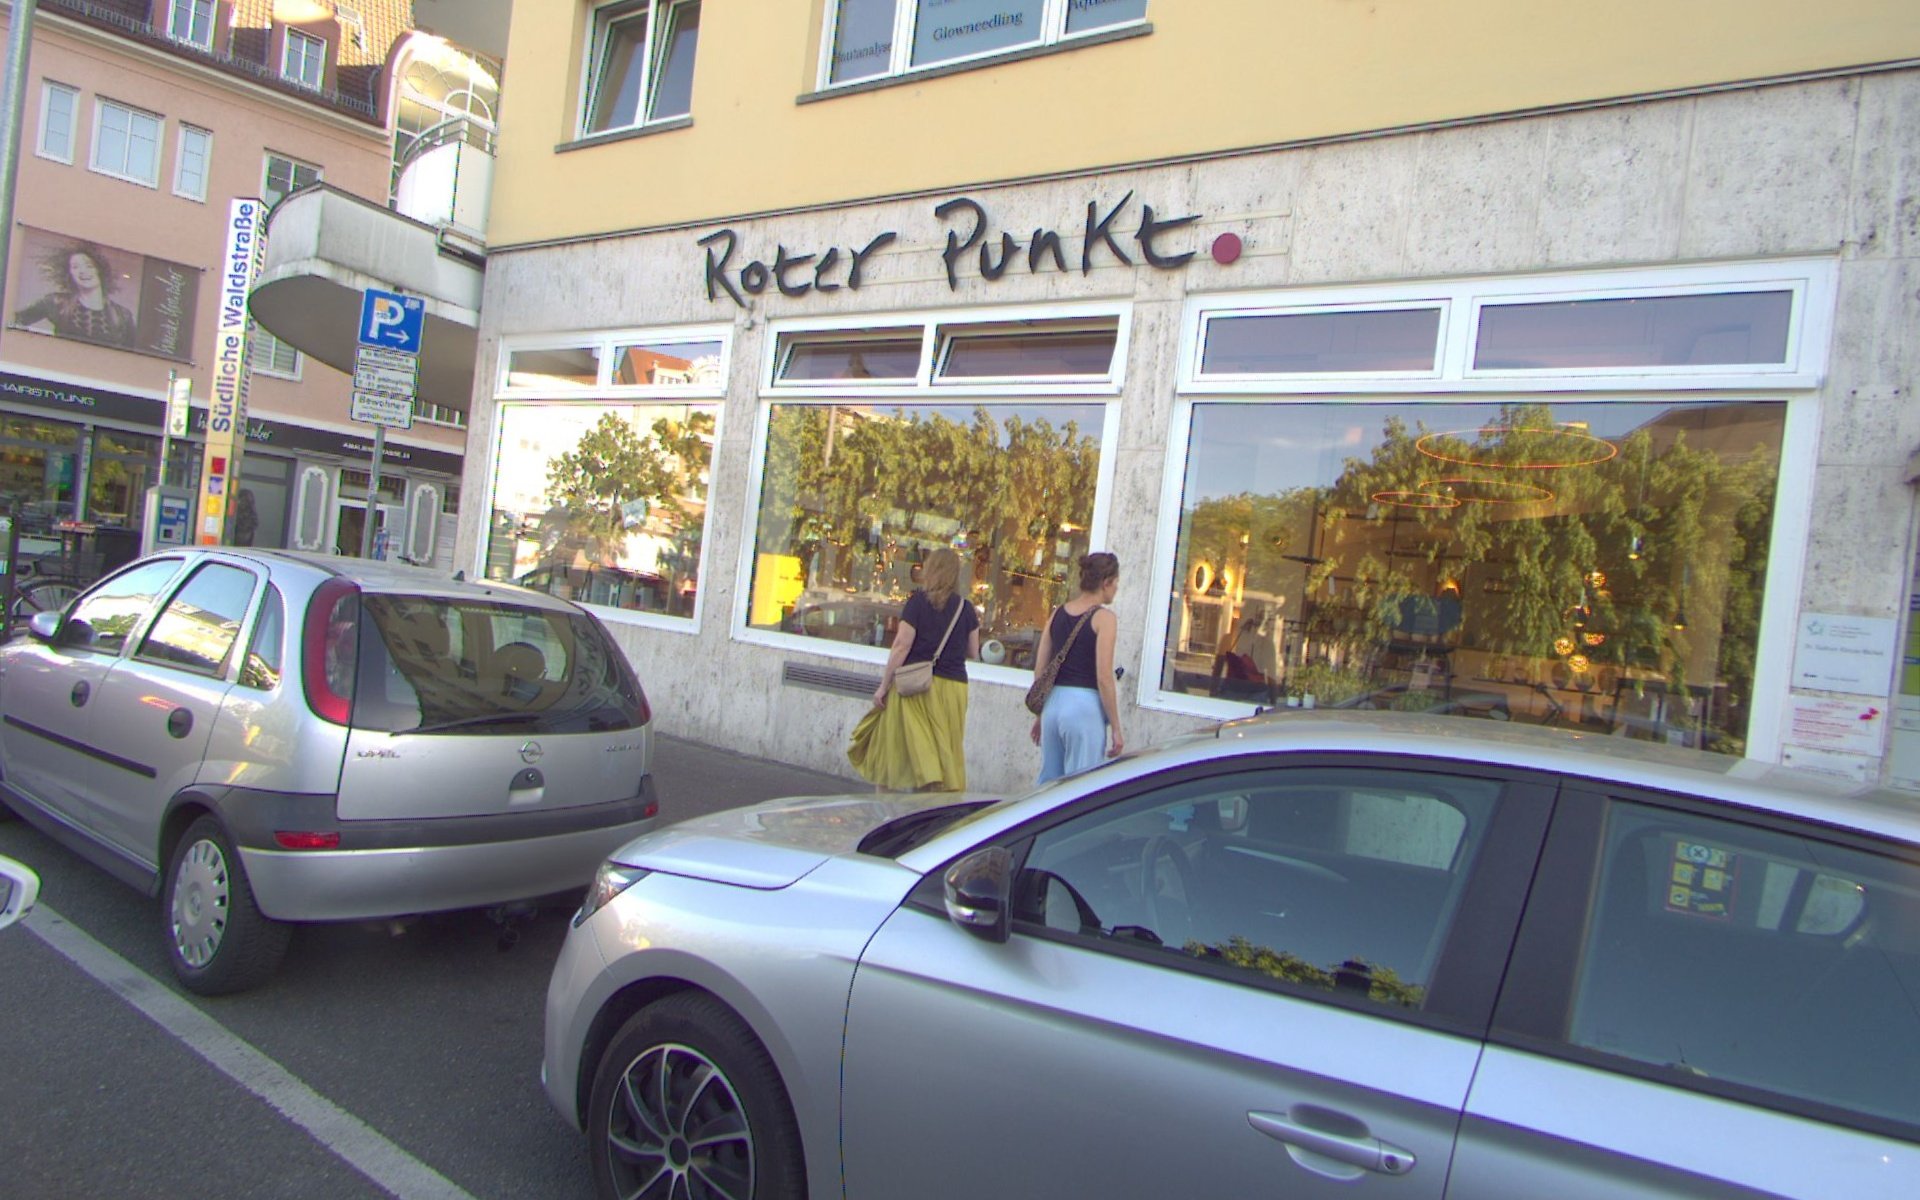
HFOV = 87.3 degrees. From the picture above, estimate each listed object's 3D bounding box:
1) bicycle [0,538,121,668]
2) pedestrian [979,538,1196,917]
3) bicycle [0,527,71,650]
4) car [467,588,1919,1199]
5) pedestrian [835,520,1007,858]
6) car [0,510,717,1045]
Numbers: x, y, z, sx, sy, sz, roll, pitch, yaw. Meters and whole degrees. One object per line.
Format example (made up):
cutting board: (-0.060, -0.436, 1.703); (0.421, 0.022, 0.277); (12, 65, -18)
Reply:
bicycle: (-8.109, 0.003, 8.197); (0.348, 1.051, 1.871); (6, 1, 38)
pedestrian: (0.640, 0.594, 4.989); (0.649, 1.685, 0.645); (7, 0, 37)
bicycle: (-9.096, -0.146, 8.811); (0.408, 1.101, 1.872); (6, 1, 35)
car: (0.775, 0.927, 2.276); (3.598, 1.444, 1.550); (6, -1, 30)
pedestrian: (-0.207, 0.500, 5.920); (0.557, 1.805, 0.743); (7, 0, 21)
car: (-2.923, 0.478, 4.436); (3.420, 1.407, 1.548); (6, -1, 33)
